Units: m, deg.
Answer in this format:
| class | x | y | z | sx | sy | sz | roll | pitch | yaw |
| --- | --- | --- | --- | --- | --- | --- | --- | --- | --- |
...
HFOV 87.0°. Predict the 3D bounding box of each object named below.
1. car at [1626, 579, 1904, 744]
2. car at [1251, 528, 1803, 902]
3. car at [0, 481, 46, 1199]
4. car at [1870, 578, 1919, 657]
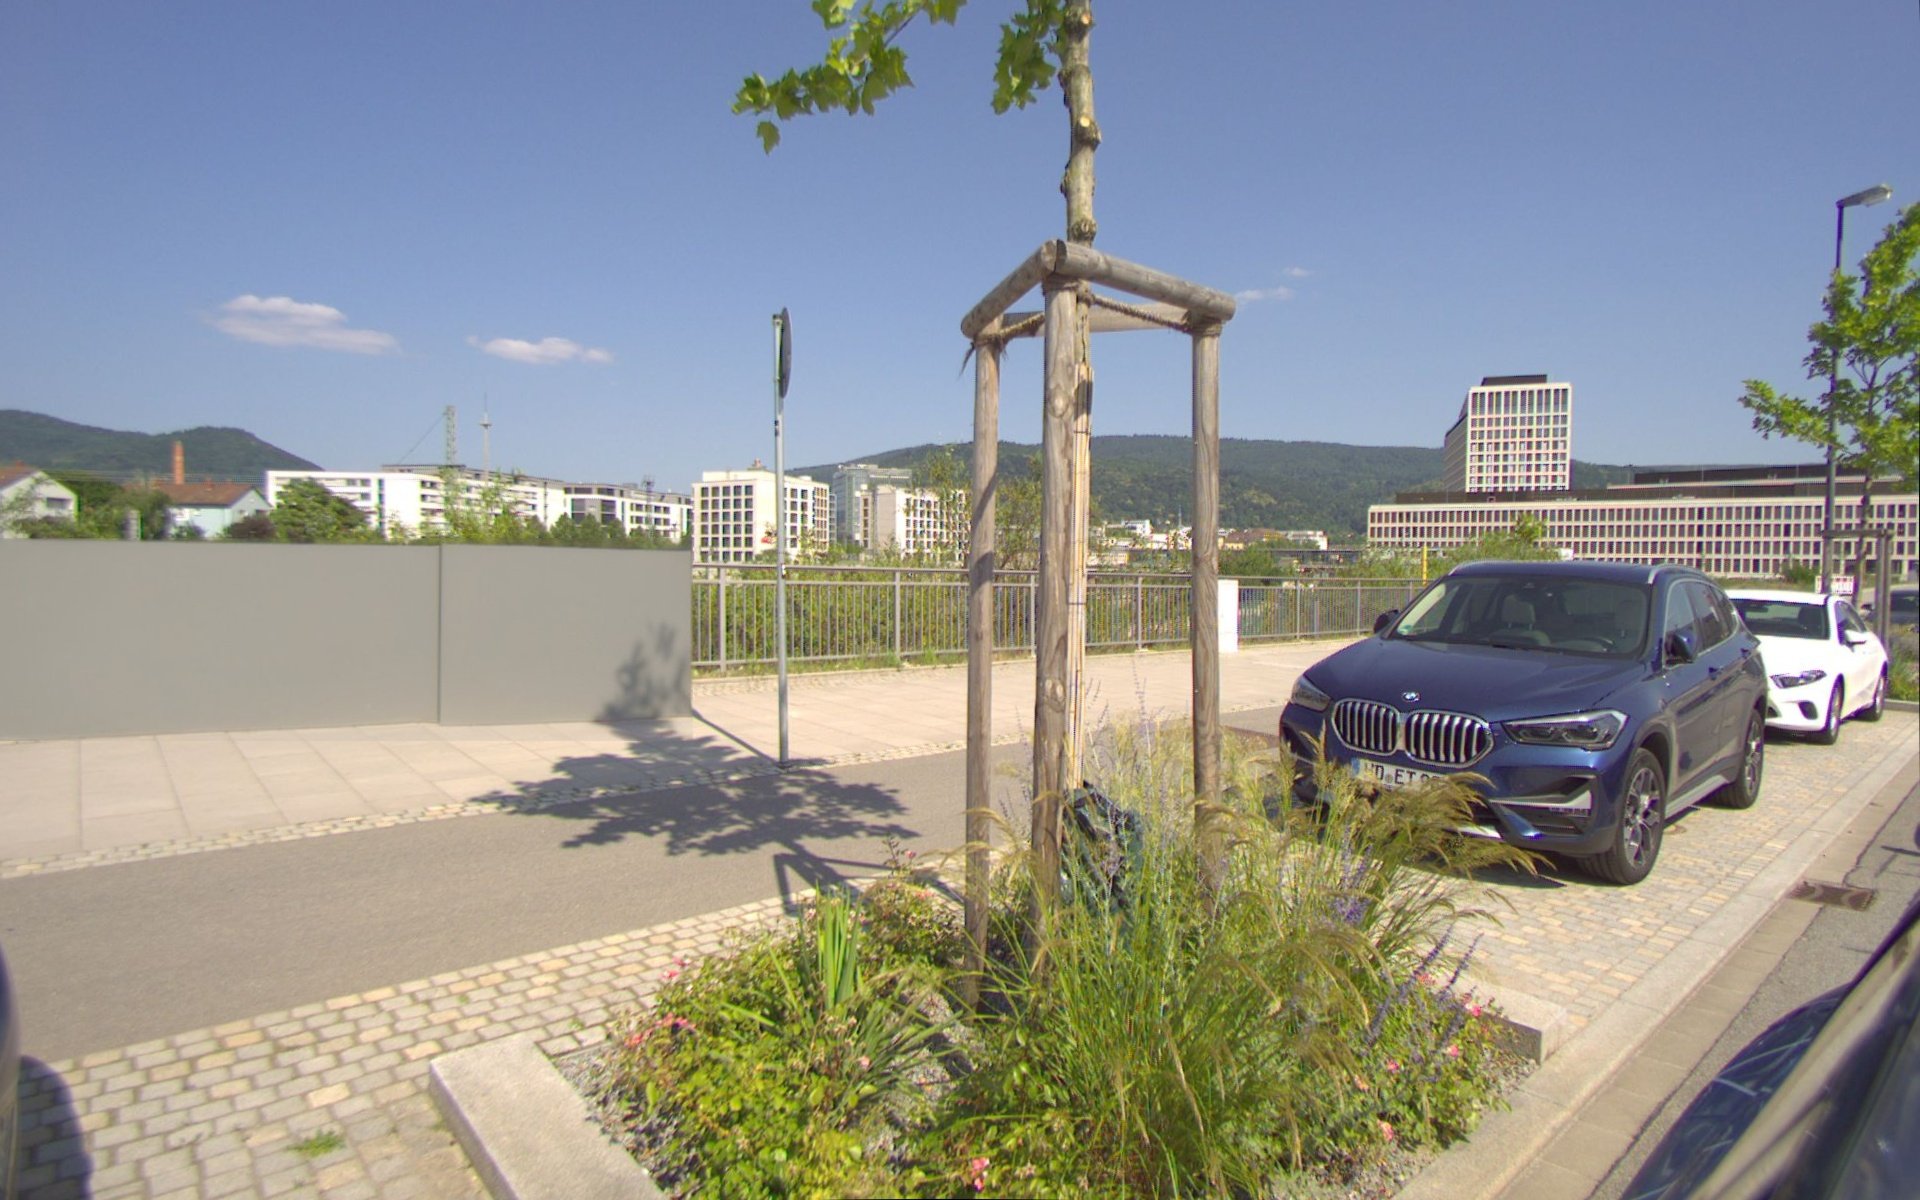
| class | x | y | z | sx | sy | sz | roll | pitch | yaw |
| --- | --- | --- | --- | --- | --- | --- | --- | --- | --- |
| car | 8.798 | 0.526 | 10.949 | 3.930 | 1.473 | 1.663 | -1 | 0 | -41 |
| car | 3.800 | 0.477 | 6.449 | 4.164 | 1.627 | 1.768 | -1 | 0 | -41 |
| car | -3.014 | 0.562 | 0.357 | 3.930 | 1.444 | 1.664 | -1 | 3 | -41 |
| car | 20.355 | 0.327 | 21.039 | 3.930 | 1.558 | 1.663 | -1 | 0 | -41 |
